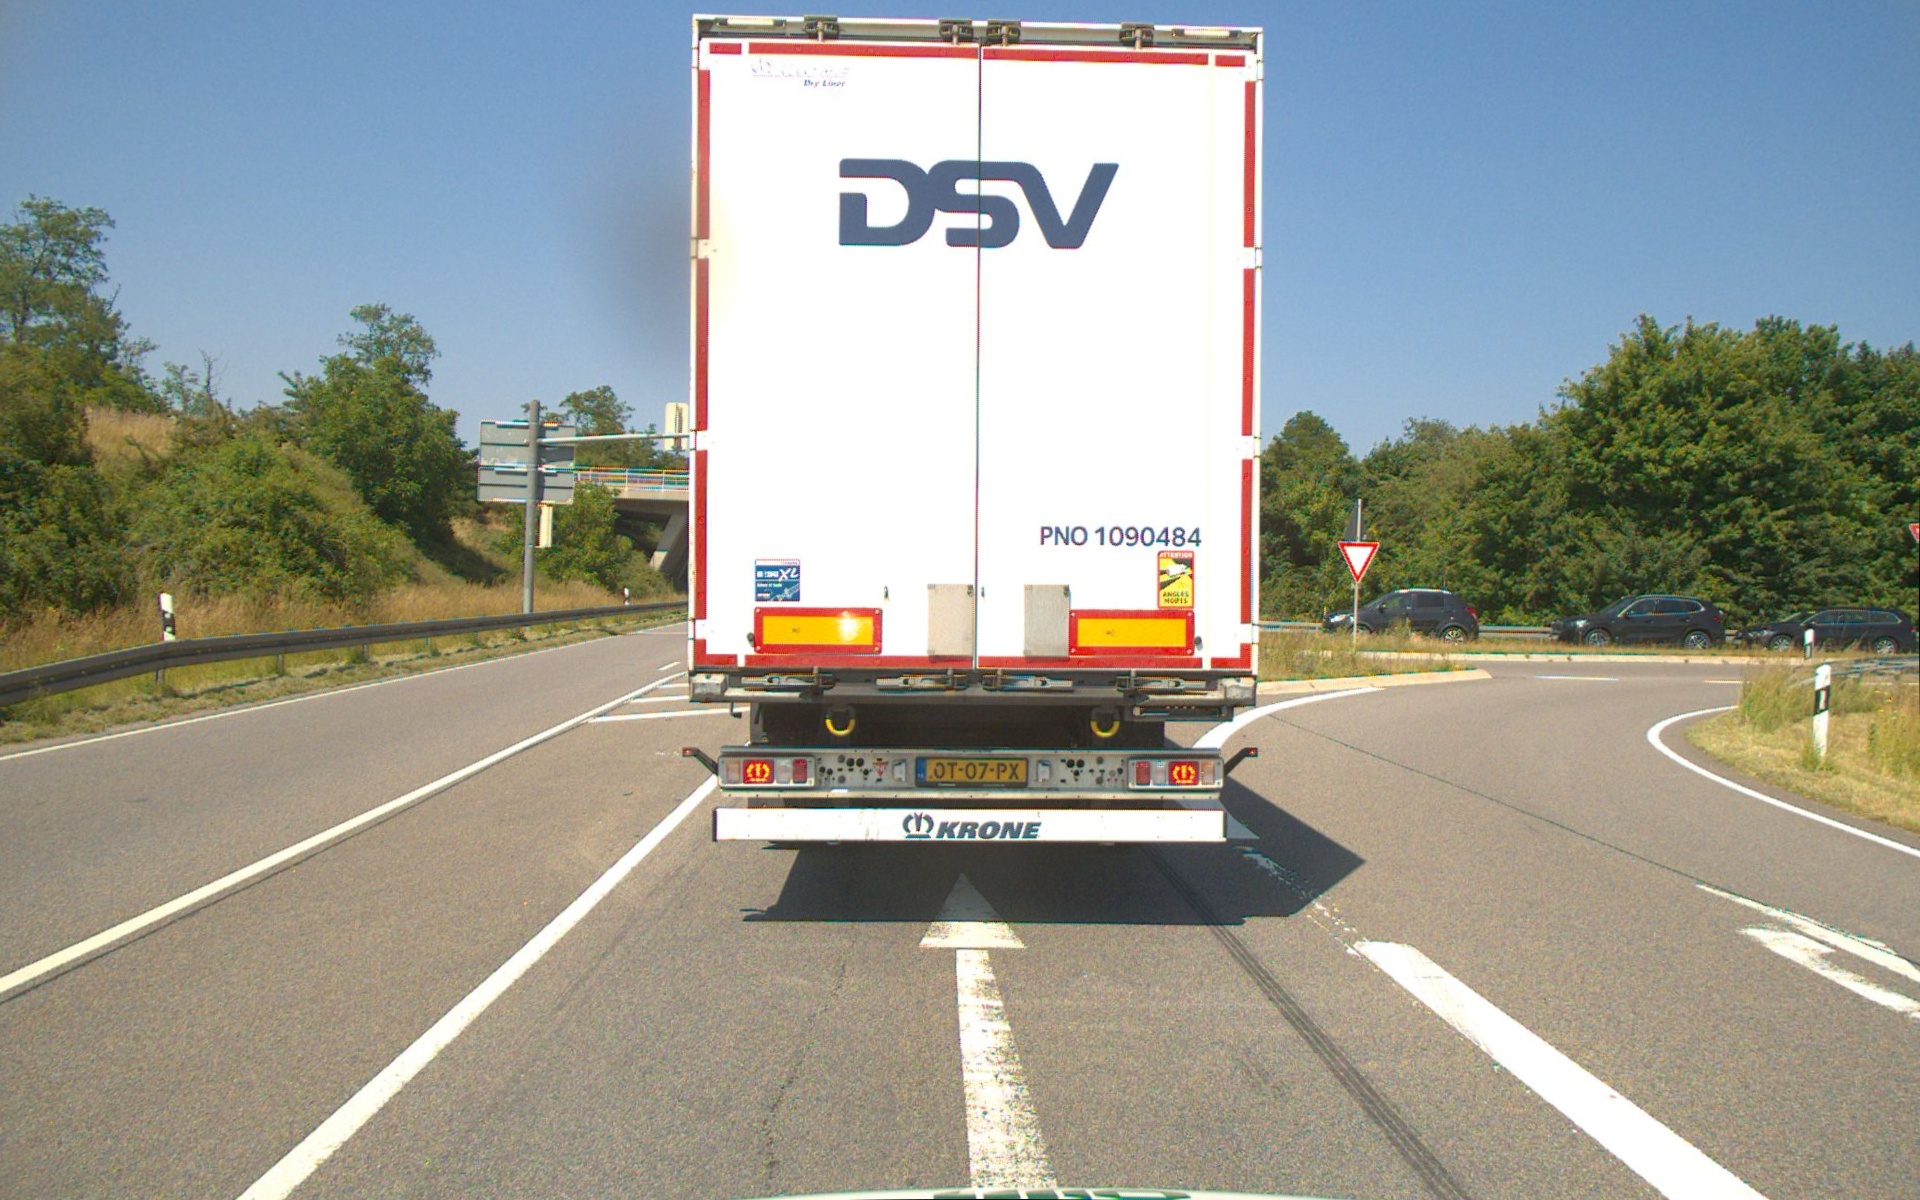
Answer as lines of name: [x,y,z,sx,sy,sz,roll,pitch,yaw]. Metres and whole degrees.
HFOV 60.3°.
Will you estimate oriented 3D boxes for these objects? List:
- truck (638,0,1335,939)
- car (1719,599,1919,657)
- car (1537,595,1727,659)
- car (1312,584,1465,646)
truck: [0.008,-0.583,11.965,2.927,4.011,9.872,1,0,-1]
car: [23.836,0.767,46.003,4.583,1.540,1.854,1,0,6]
car: [18.036,0.709,44.520,4.393,1.626,1.768,1,0,2]
car: [11.990,0.422,46.464,3.901,1.668,1.842,1,0,5]
